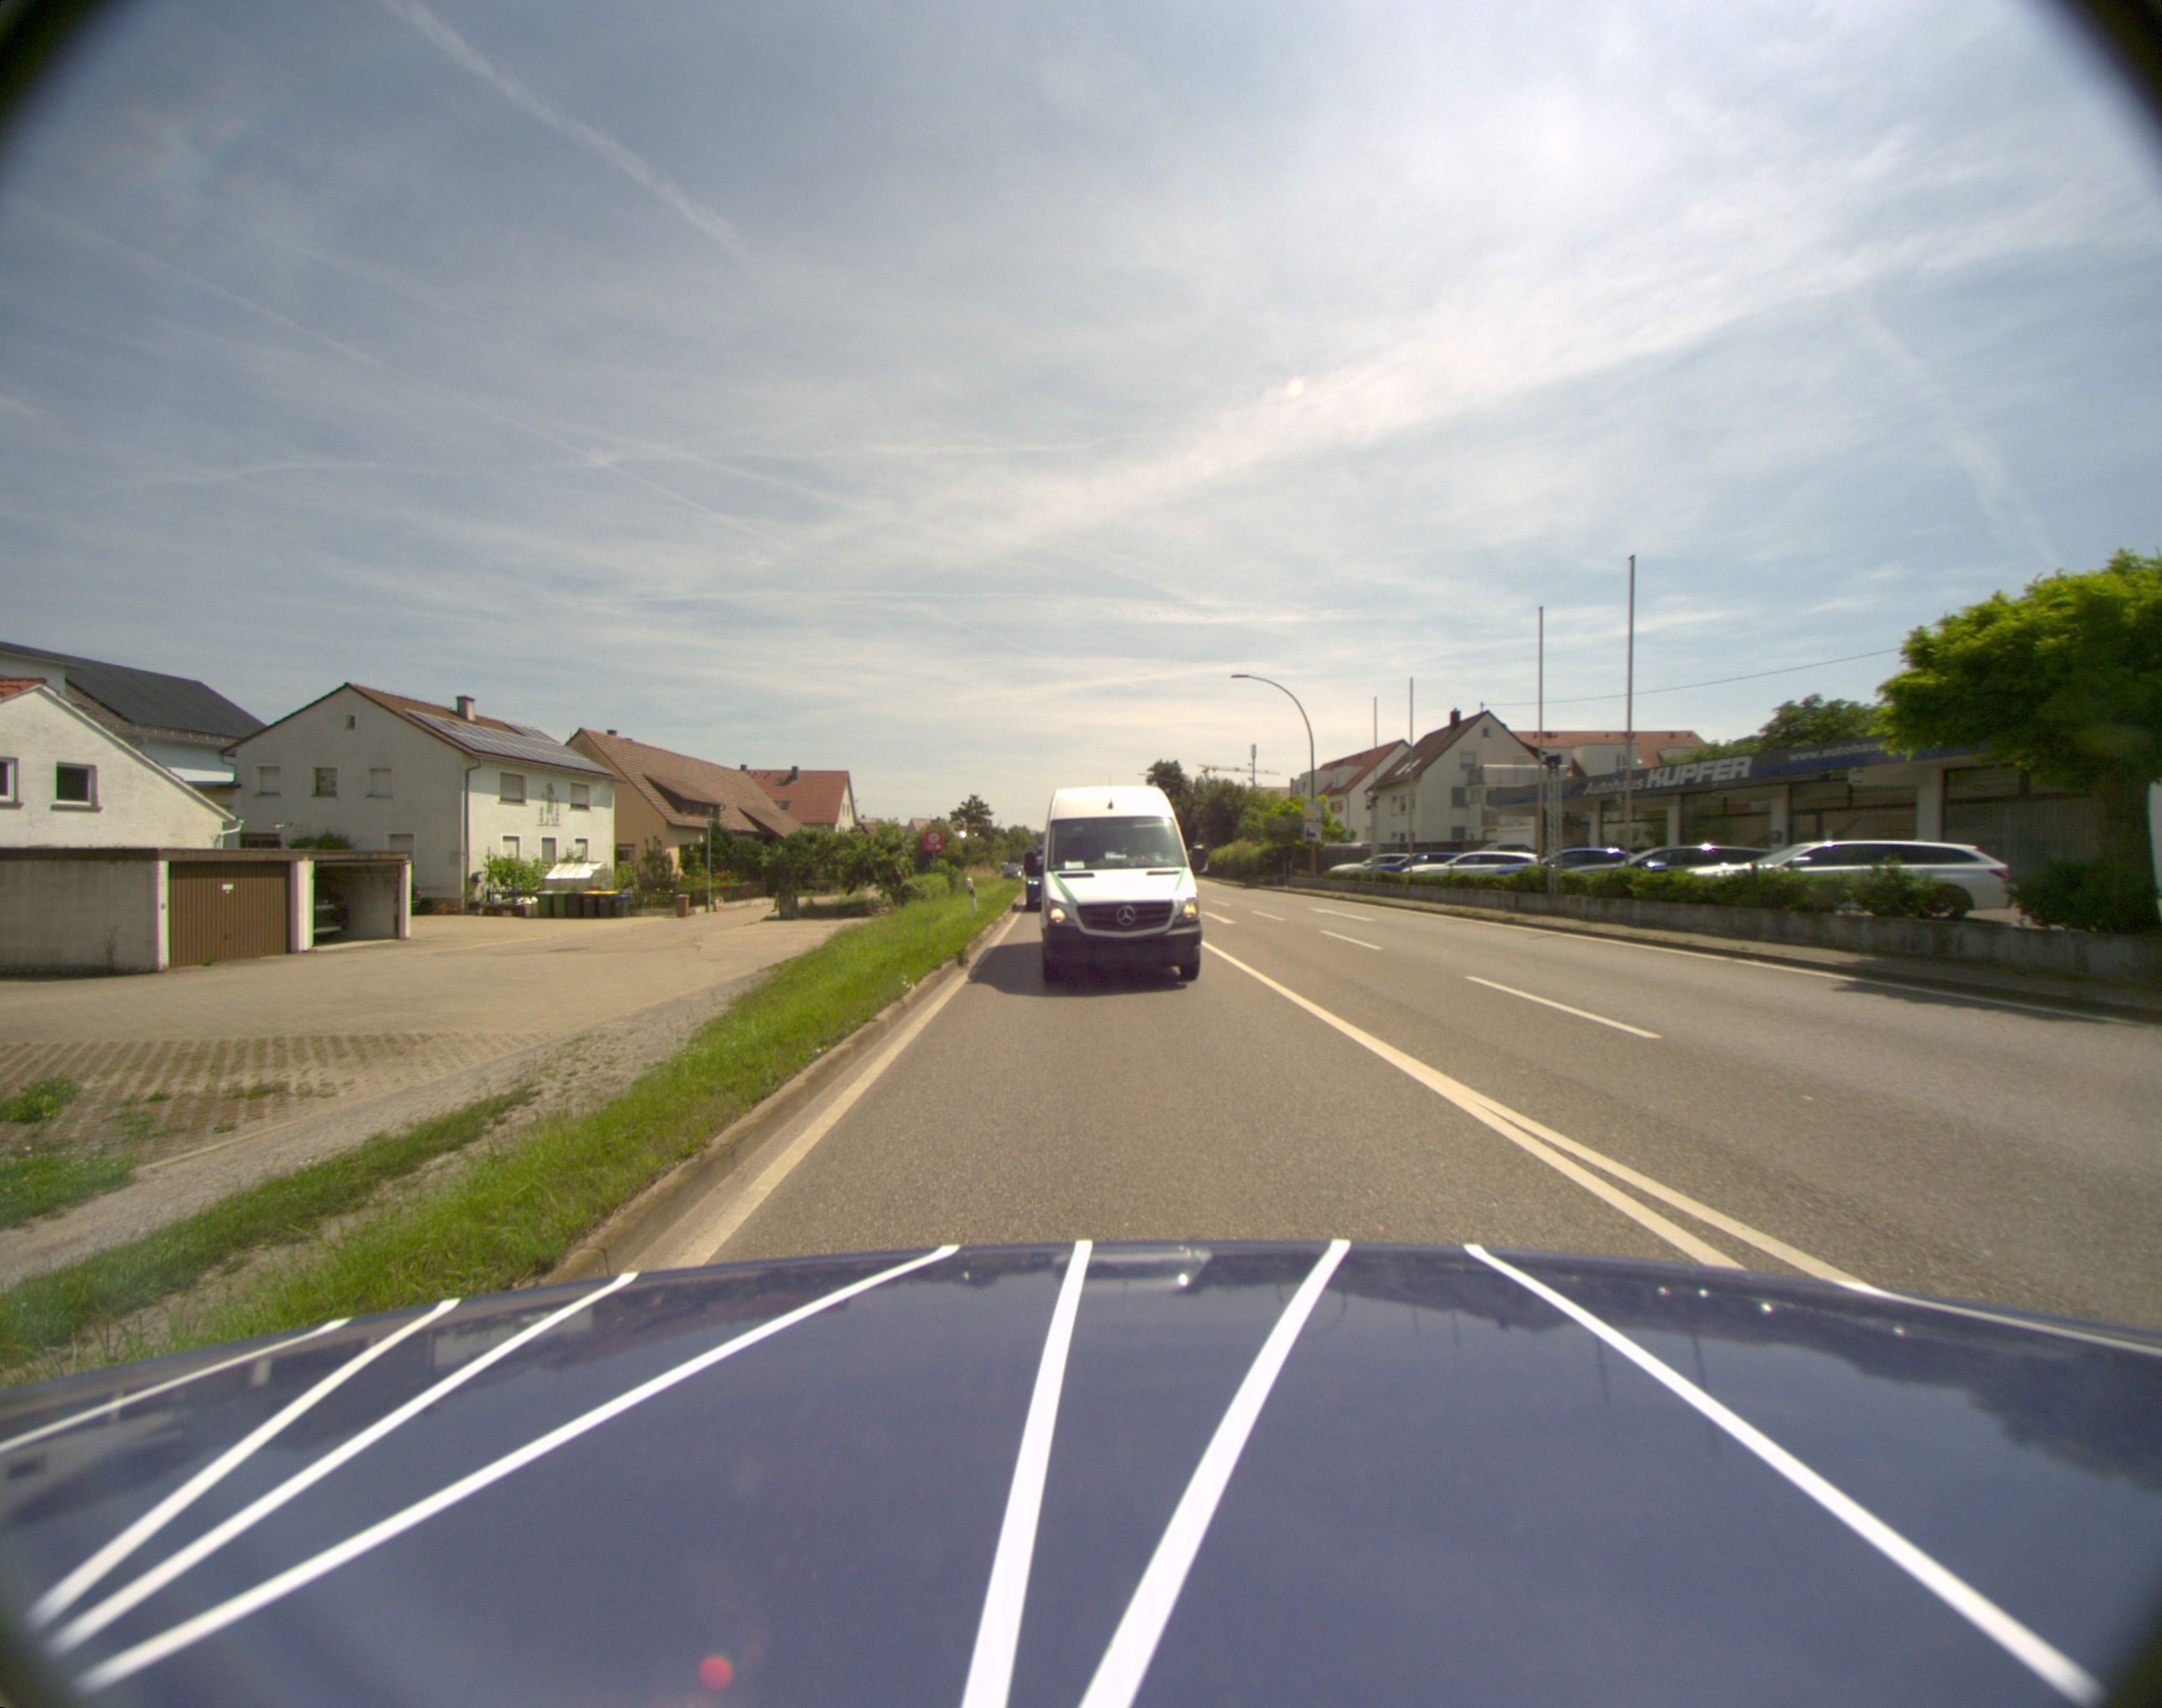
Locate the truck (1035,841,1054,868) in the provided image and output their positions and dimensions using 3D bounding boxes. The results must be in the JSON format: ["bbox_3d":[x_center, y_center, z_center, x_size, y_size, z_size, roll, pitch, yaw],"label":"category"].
[{"bbox_3d":[-5.249,0.076,110.874,2.506,3.847,5.497,-2,0,-1],"label":"truck"}]

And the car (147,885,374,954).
[{"bbox_3d":[-21.585,1.680,20.107,3.997,1.594,1.826,-1,0,0],"label":"car"}]

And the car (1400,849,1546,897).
[{"bbox_3d":[13.483,0.653,26.329,4.303,1.510,2.003,-2,0,27],"label":"car"}]

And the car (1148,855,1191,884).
[{"bbox_3d":[5.350,0.911,46.292,1.851,1.645,4.402,-2,0,-3],"label":"car"}]

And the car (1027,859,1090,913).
[{"bbox_3d":[-0.676,0.947,24.248,1.824,1.574,3.901,-1,0,-1],"label":"car"}]

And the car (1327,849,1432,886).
[{"bbox_3d":[13.581,0.603,34.590,4.255,1.521,2.003,-2,0,26],"label":"car"}]

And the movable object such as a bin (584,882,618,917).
[{"bbox_3d":[-19.856,1.874,31.420,0.765,1.362,0.946,-2,0,-1],"label":"movable object such as a bin"}]

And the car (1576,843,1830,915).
[{"bbox_3d":[14.365,0.596,17.888,4.251,1.536,1.853,-2,0,23],"label":"car"}]

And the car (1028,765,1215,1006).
[{"bbox_3d":[0.416,0.358,11.172,1.978,2.583,5.633,-2,0,-1],"label":"car"}]

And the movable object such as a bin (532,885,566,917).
[{"bbox_3d":[-22.112,1.950,31.607,0.745,1.239,0.889,-2,0,-1],"label":"movable object such as a bin"}]

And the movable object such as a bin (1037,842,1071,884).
[{"bbox_3d":[-1.806,0.569,52.533,1.998,2.710,5.419,-2,0,1],"label":"movable object such as a bin"}]

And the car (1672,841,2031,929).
[{"bbox_3d":[14.042,0.555,14.245,4.329,1.451,1.858,-2,0,24],"label":"car"}]

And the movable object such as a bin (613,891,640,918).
[{"bbox_3d":[-18.846,2.083,31.513,0.645,1.021,0.756,-2,0,-1],"label":"movable object such as a bin"}]

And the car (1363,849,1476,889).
[{"bbox_3d":[13.609,0.585,30.618,3.990,1.455,2.003,-2,0,26],"label":"car"}]

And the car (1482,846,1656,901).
[{"bbox_3d":[13.906,0.557,21.953,3.990,1.433,1.857,-2,0,25],"label":"car"}]

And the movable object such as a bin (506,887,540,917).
[{"bbox_3d":[-23.068,1.985,31.420,0.740,1.149,0.830,-2,0,-1],"label":"movable object such as a bin"}]

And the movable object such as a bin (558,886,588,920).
[{"bbox_3d":[-21.193,2.037,31.721,0.678,1.330,0.820,-2,0,-1],"label":"movable object such as a bin"}]
